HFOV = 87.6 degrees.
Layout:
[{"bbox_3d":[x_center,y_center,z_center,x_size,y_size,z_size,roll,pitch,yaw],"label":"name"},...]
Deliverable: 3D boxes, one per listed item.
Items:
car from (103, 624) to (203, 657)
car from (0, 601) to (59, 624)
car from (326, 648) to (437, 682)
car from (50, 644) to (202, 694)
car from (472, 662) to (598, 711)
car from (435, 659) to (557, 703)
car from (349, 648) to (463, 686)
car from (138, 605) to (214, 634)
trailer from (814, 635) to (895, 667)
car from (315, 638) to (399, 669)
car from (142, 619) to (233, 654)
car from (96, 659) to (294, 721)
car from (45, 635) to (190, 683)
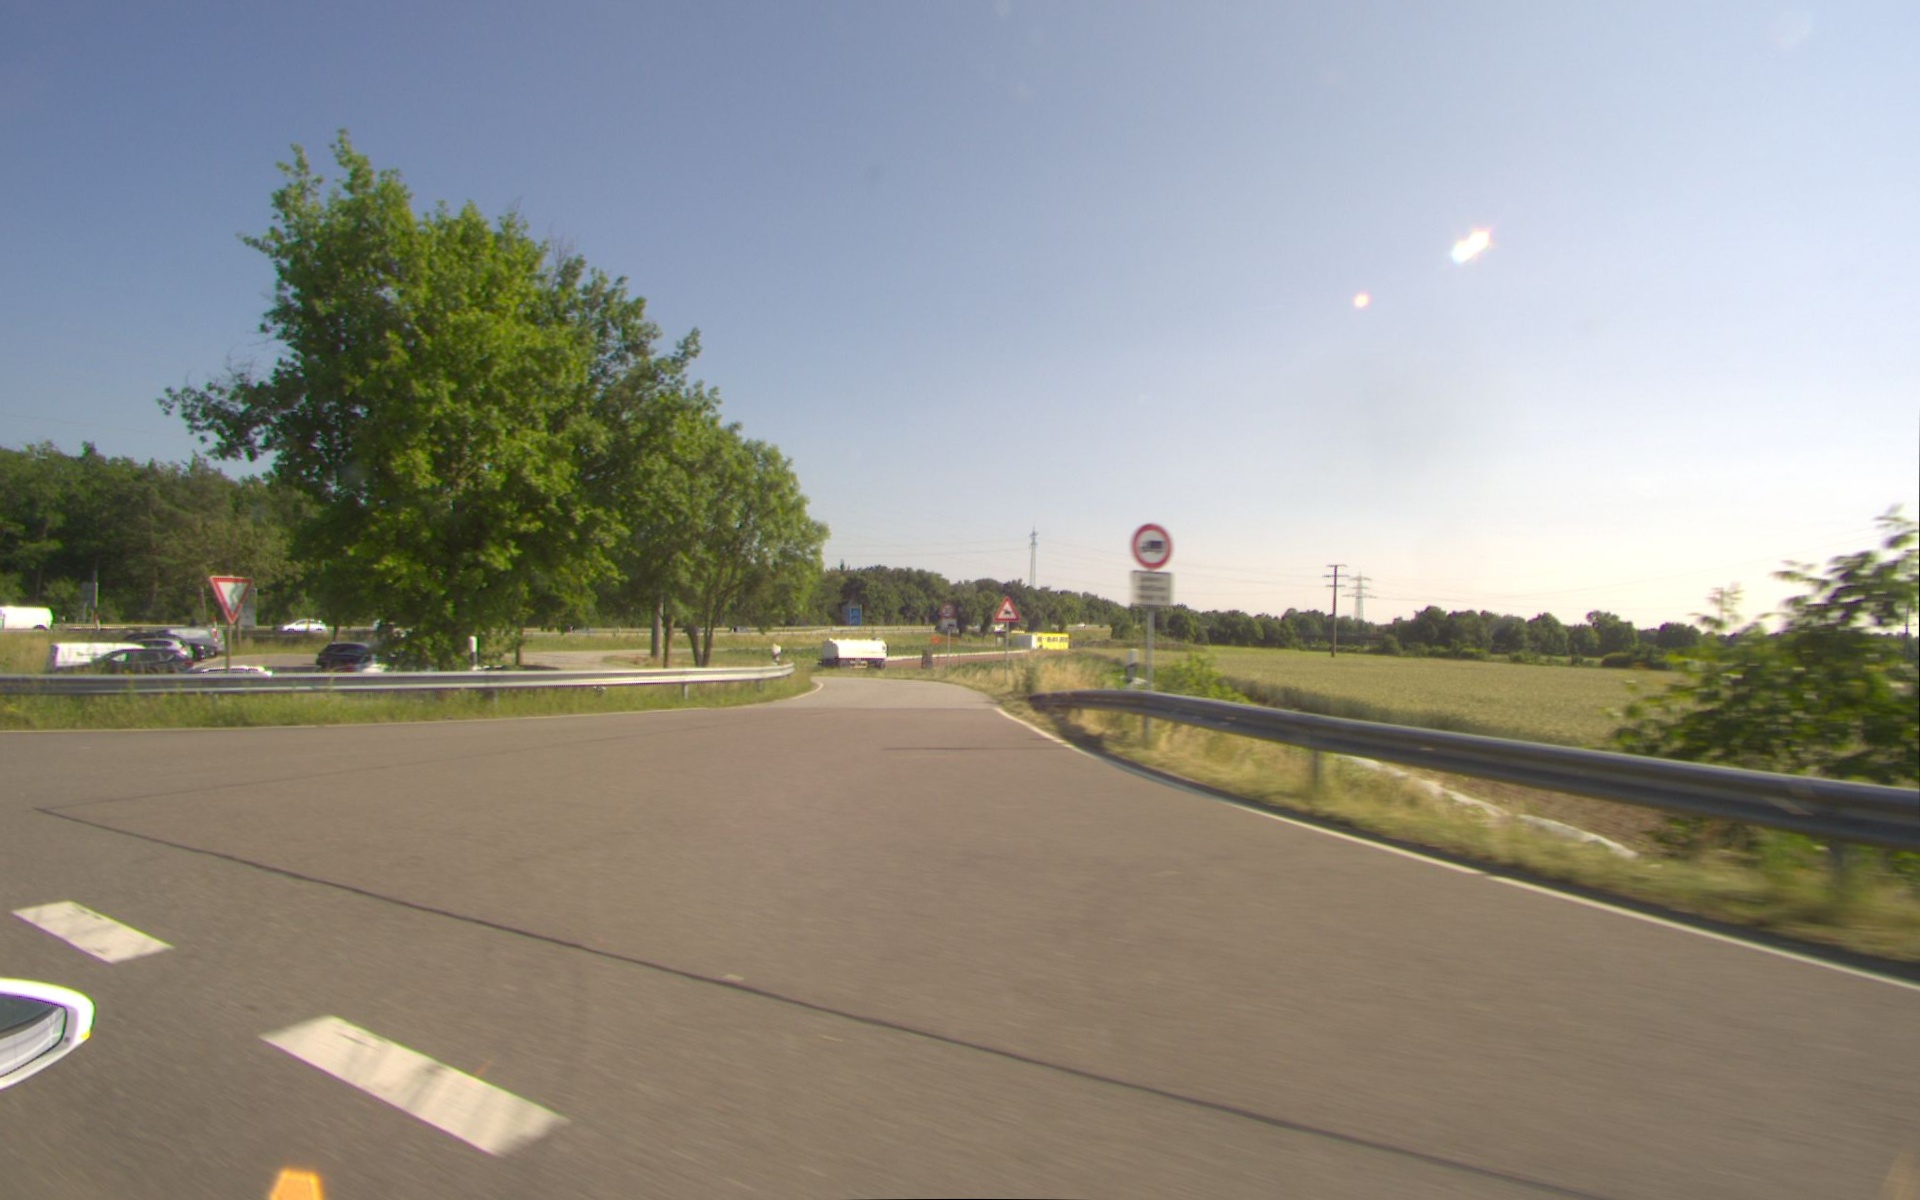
[{"bbox_3d":[-44.857,2.273,55.766,3.940,1.639,1.884,4,-3,-26],"label":"car"},{"bbox_3d":[-66.546,0.856,70.011,1.966,1.572,4.883,0,0,23],"label":"car"},{"bbox_3d":[-27.790,3.142,48.168,4.324,1.465,1.983,5,-3,-41],"label":"car"},{"bbox_3d":[-32.673,2.643,39.308,1.880,1.689,4.391,1,0,42],"label":"car"},{"bbox_3d":[-16.123,3.278,38.168,1.867,1.686,3.976,0,-4,37],"label":"car"},{"bbox_3d":[-18.449,3.212,39.925,1.867,1.600,3.976,0,-4,38],"label":"car"},{"bbox_3d":[-25.855,3.156,46.786,4.324,1.609,1.983,5,-3,-41],"label":"car"},{"bbox_3d":[-57.372,1.401,73.359,1.771,2.040,3.988,1,-1,24],"label":"car"},{"bbox_3d":[-9.264,4.528,88.413,6.745,2.704,2.864,4,-2,-45],"label":"trailer"},{"bbox_3d":[-34.304,3.025,56.986,3.949,1.600,1.880,4,-3,-33],"label":"car"},{"bbox_3d":[-47.360,2.261,61.455,3.935,1.900,1.887,3,-3,-21],"label":"car"},{"bbox_3d":[-24.285,2.811,31.968,1.971,1.647,4.645,0,-1,32],"label":"car"},{"bbox_3d":[-34.784,2.438,41.411,1.880,1.806,4.335,0,-3,42],"label":"car"}]
